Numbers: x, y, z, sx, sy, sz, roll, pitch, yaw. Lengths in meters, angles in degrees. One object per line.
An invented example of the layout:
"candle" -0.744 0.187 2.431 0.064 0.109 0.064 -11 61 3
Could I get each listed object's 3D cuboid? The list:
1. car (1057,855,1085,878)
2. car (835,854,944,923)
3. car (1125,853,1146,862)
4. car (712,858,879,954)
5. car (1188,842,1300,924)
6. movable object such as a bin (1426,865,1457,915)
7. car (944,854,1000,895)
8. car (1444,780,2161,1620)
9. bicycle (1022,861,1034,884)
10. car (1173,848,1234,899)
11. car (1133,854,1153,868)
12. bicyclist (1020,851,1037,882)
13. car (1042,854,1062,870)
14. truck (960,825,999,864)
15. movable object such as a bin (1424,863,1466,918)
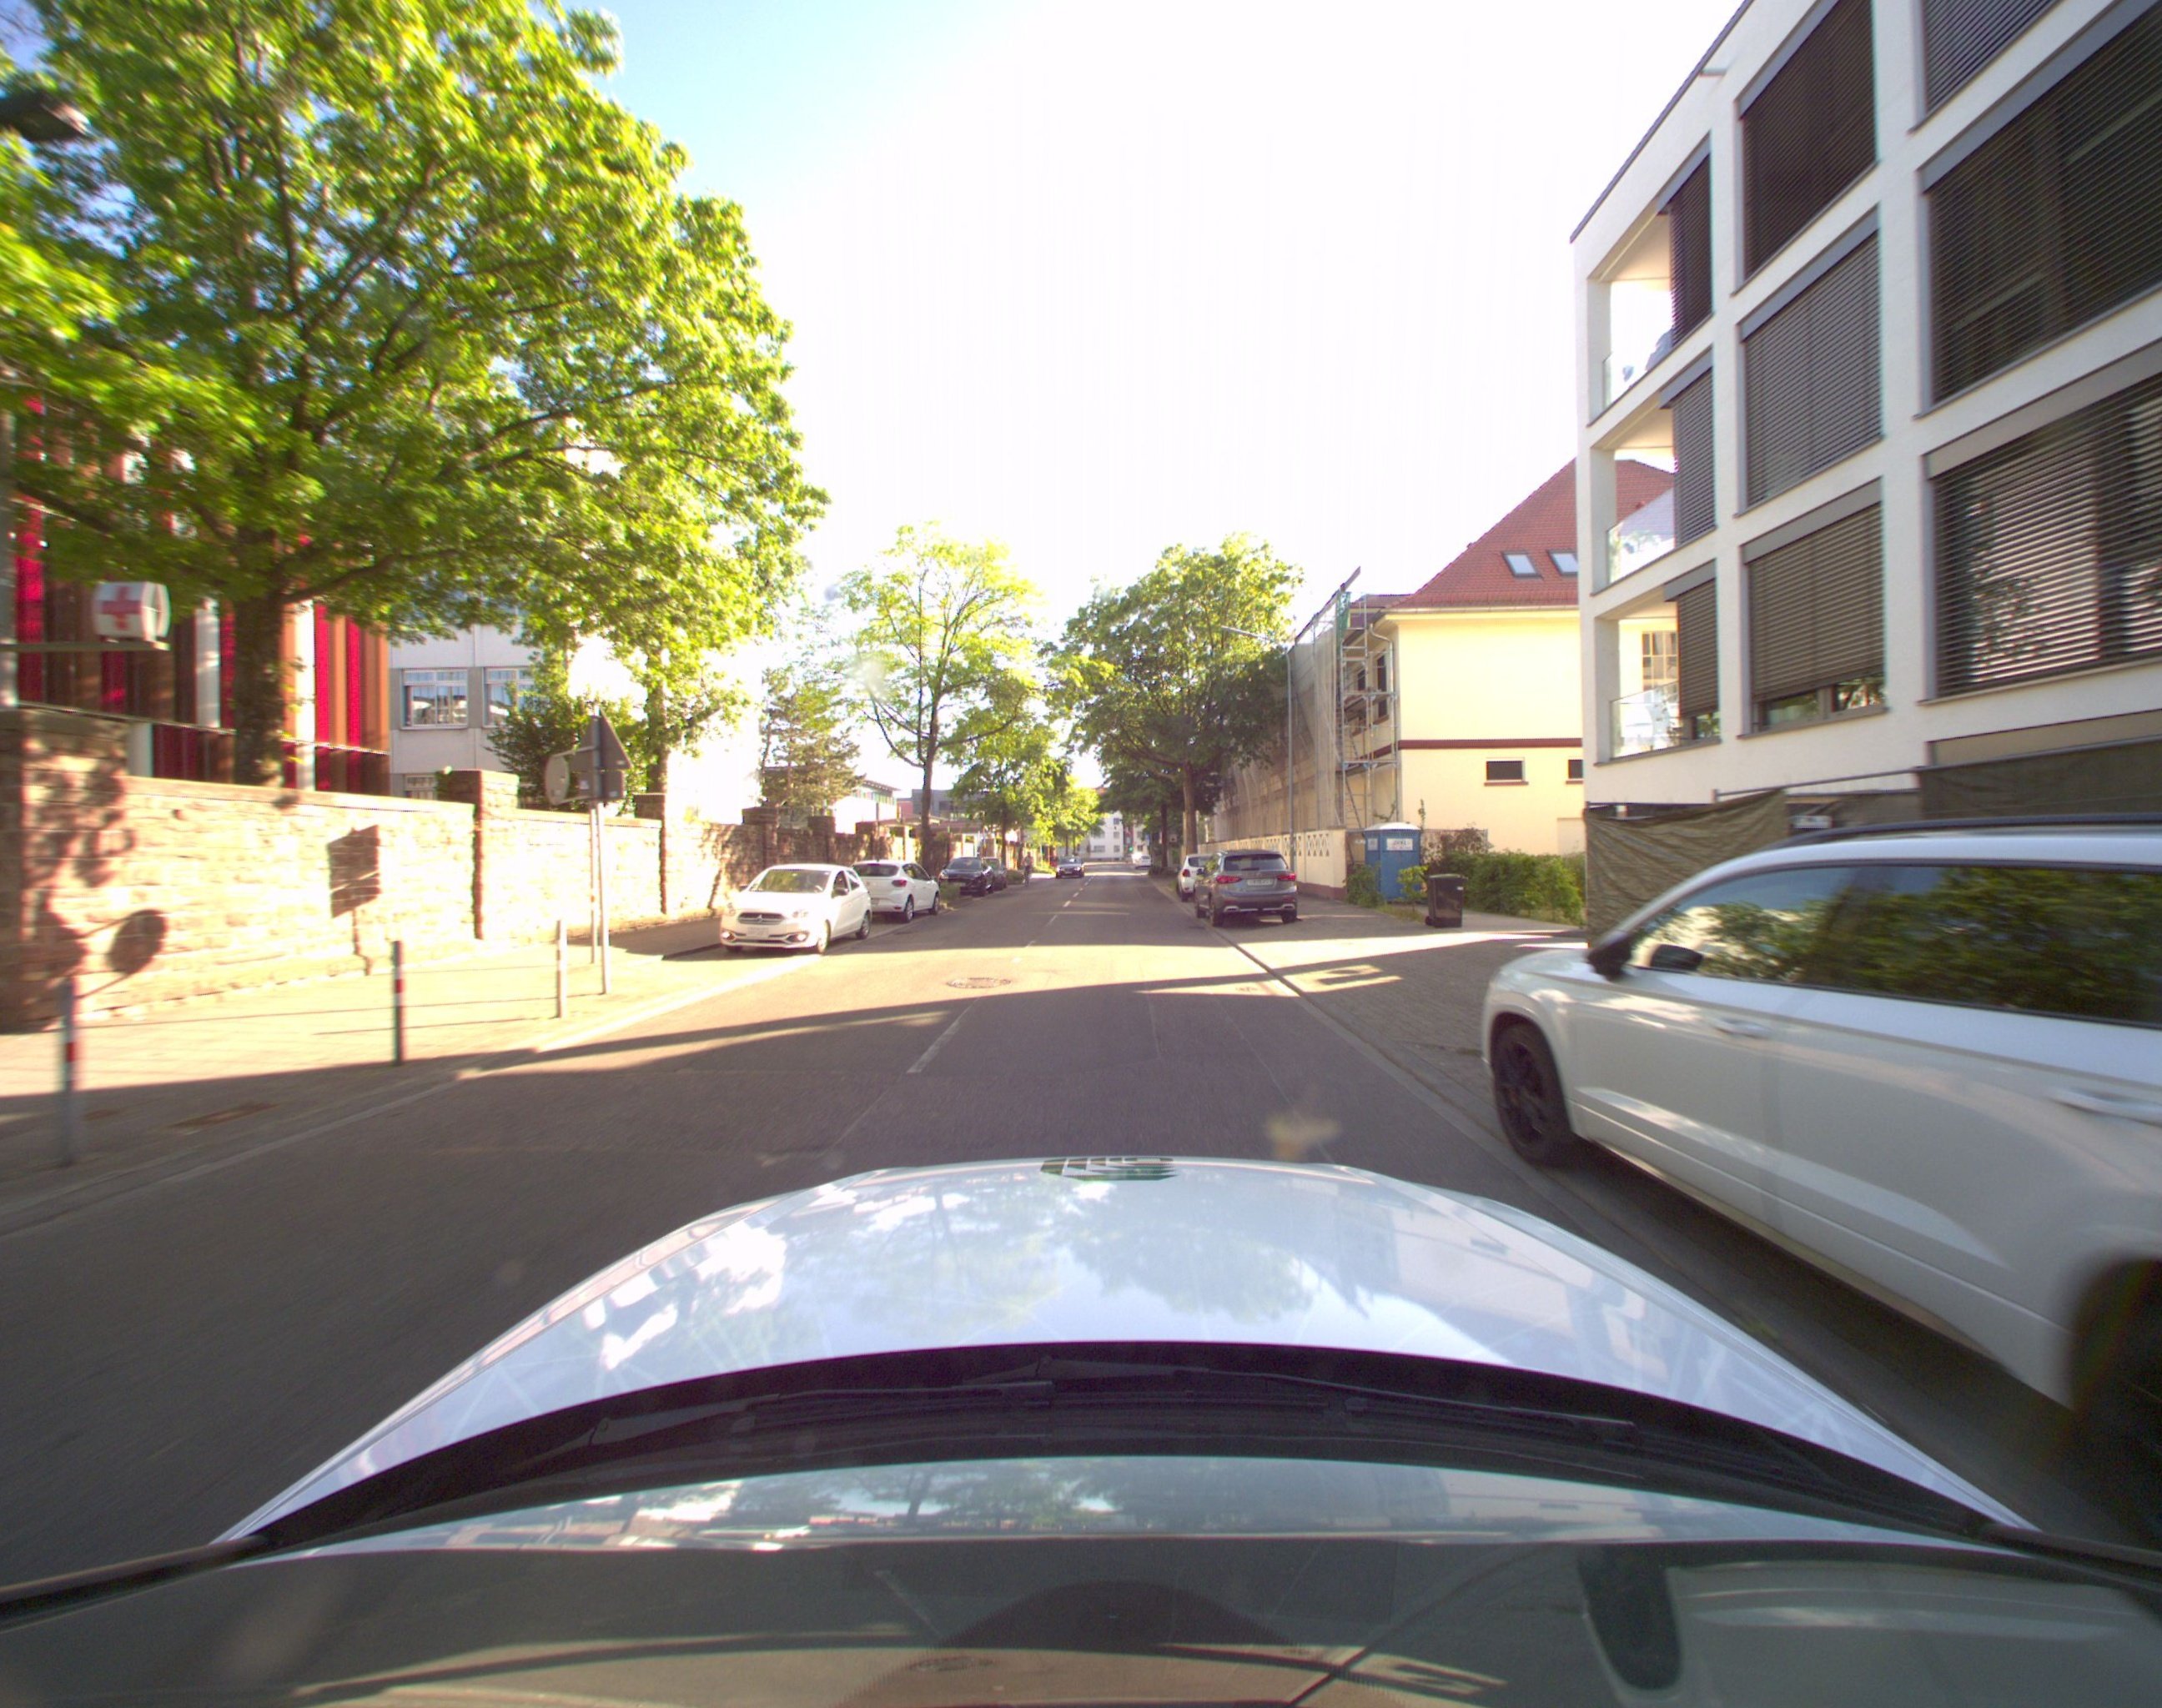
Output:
"car" -0.646 0.816 55.377 1.815 1.436 3.969 1 1 0
"car" -4.760 0.803 20.814 1.670 1.511 3.852 2 0 3
"car" 9.475 0.611 141.142 3.408 1.443 1.640 0 0 -9
"car" -4.954 0.828 14.680 1.568 1.402 3.752 2 0 1
"car" 3.602 0.576 18.682 1.706 1.638 4.303 -1 0 0
"movable object such as a bin" 7.144 0.705 16.153 0.432 0.963 0.512 0 0 6
"car" -4.304 0.764 32.587 1.568 1.515 4.046 -1 0 1
"car" 2.986 0.656 2.696 1.786 1.615 4.127 0 0 1
"bicycle" -2.659 0.930 41.040 0.356 1.120 1.867 0 0 3
"car" 4.037 0.594 27.369 1.715 1.510 3.998 -3 0 5
"car" 6.332 0.664 83.727 1.826 1.323 4.498 -2 0 2
"bicyclist" -2.649 0.618 41.035 0.717 1.522 1.006 0 0 5
"car" -2.674 0.713 76.430 1.602 1.459 3.711 0 0 3
"truck" -10.175 -0.903 82.463 2.722 3.711 7.432 0 0 2
"movable object such as a bin" 6.953 0.683 15.574 0.595 1.027 0.565 0 0 5
